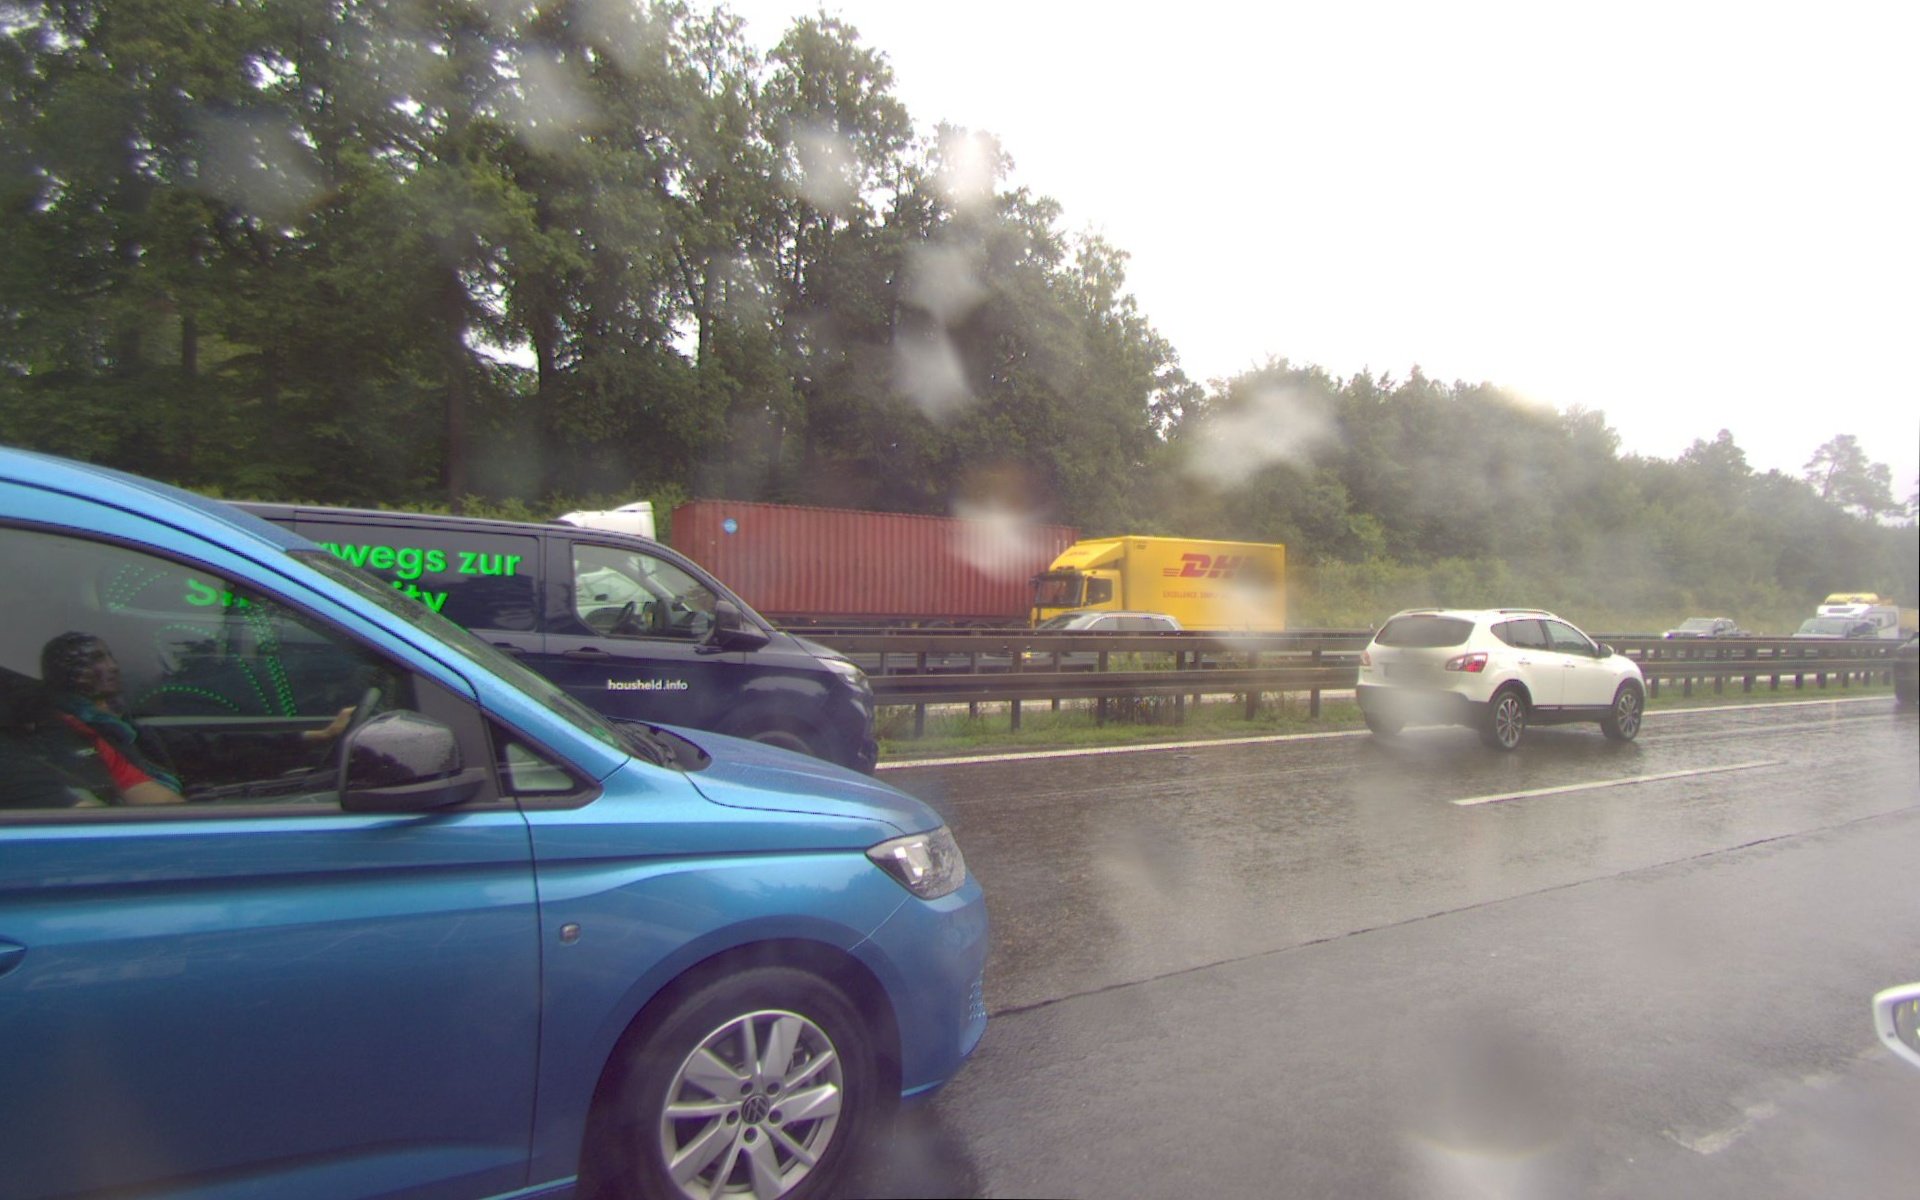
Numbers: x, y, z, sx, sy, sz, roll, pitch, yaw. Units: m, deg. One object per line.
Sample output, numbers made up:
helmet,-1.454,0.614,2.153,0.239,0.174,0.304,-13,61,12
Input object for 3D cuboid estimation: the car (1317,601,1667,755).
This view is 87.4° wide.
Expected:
car,6.728,0.863,12.599,4.414,1.613,1.837,1,0,-30

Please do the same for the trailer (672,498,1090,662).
trailer,-1.892,-0.373,29.267,12.230,4.079,2.606,2,0,-31

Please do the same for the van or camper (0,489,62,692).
van or camper,-15.240,-0.149,12.228,6.048,2.581,2.187,1,-1,-31

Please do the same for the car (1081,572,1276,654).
car,4.667,0.296,21.308,3.954,1.600,1.689,1,0,-31

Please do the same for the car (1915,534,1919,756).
car,13.950,0.573,12.261,4.961,2.607,2.200,1,0,-33

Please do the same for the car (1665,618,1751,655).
car,34.515,1.687,46.337,3.954,1.600,1.836,1,0,-31

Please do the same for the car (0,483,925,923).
car,-2.981,0.503,6.401,5.180,1.970,1.982,2,0,-30

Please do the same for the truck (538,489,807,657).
truck,-7.369,-0.569,25.968,6.192,3.869,2.690,1,0,-31

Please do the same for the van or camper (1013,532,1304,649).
van or camper,5.946,-0.170,29.333,8.685,3.018,2.828,1,0,-31

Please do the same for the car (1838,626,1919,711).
car,20.401,1.390,20.945,4.413,1.613,1.837,1,0,-30

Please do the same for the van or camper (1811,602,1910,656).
van or camper,51.778,1.678,57.687,7.915,2.908,2.154,1,0,-33

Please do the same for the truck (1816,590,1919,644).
truck,63.416,1.248,69.774,11.587,3.530,2.506,1,0,-32

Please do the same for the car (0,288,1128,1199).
car,-2.266,0.474,2.420,4.955,1.937,2.259,1,0,-29
